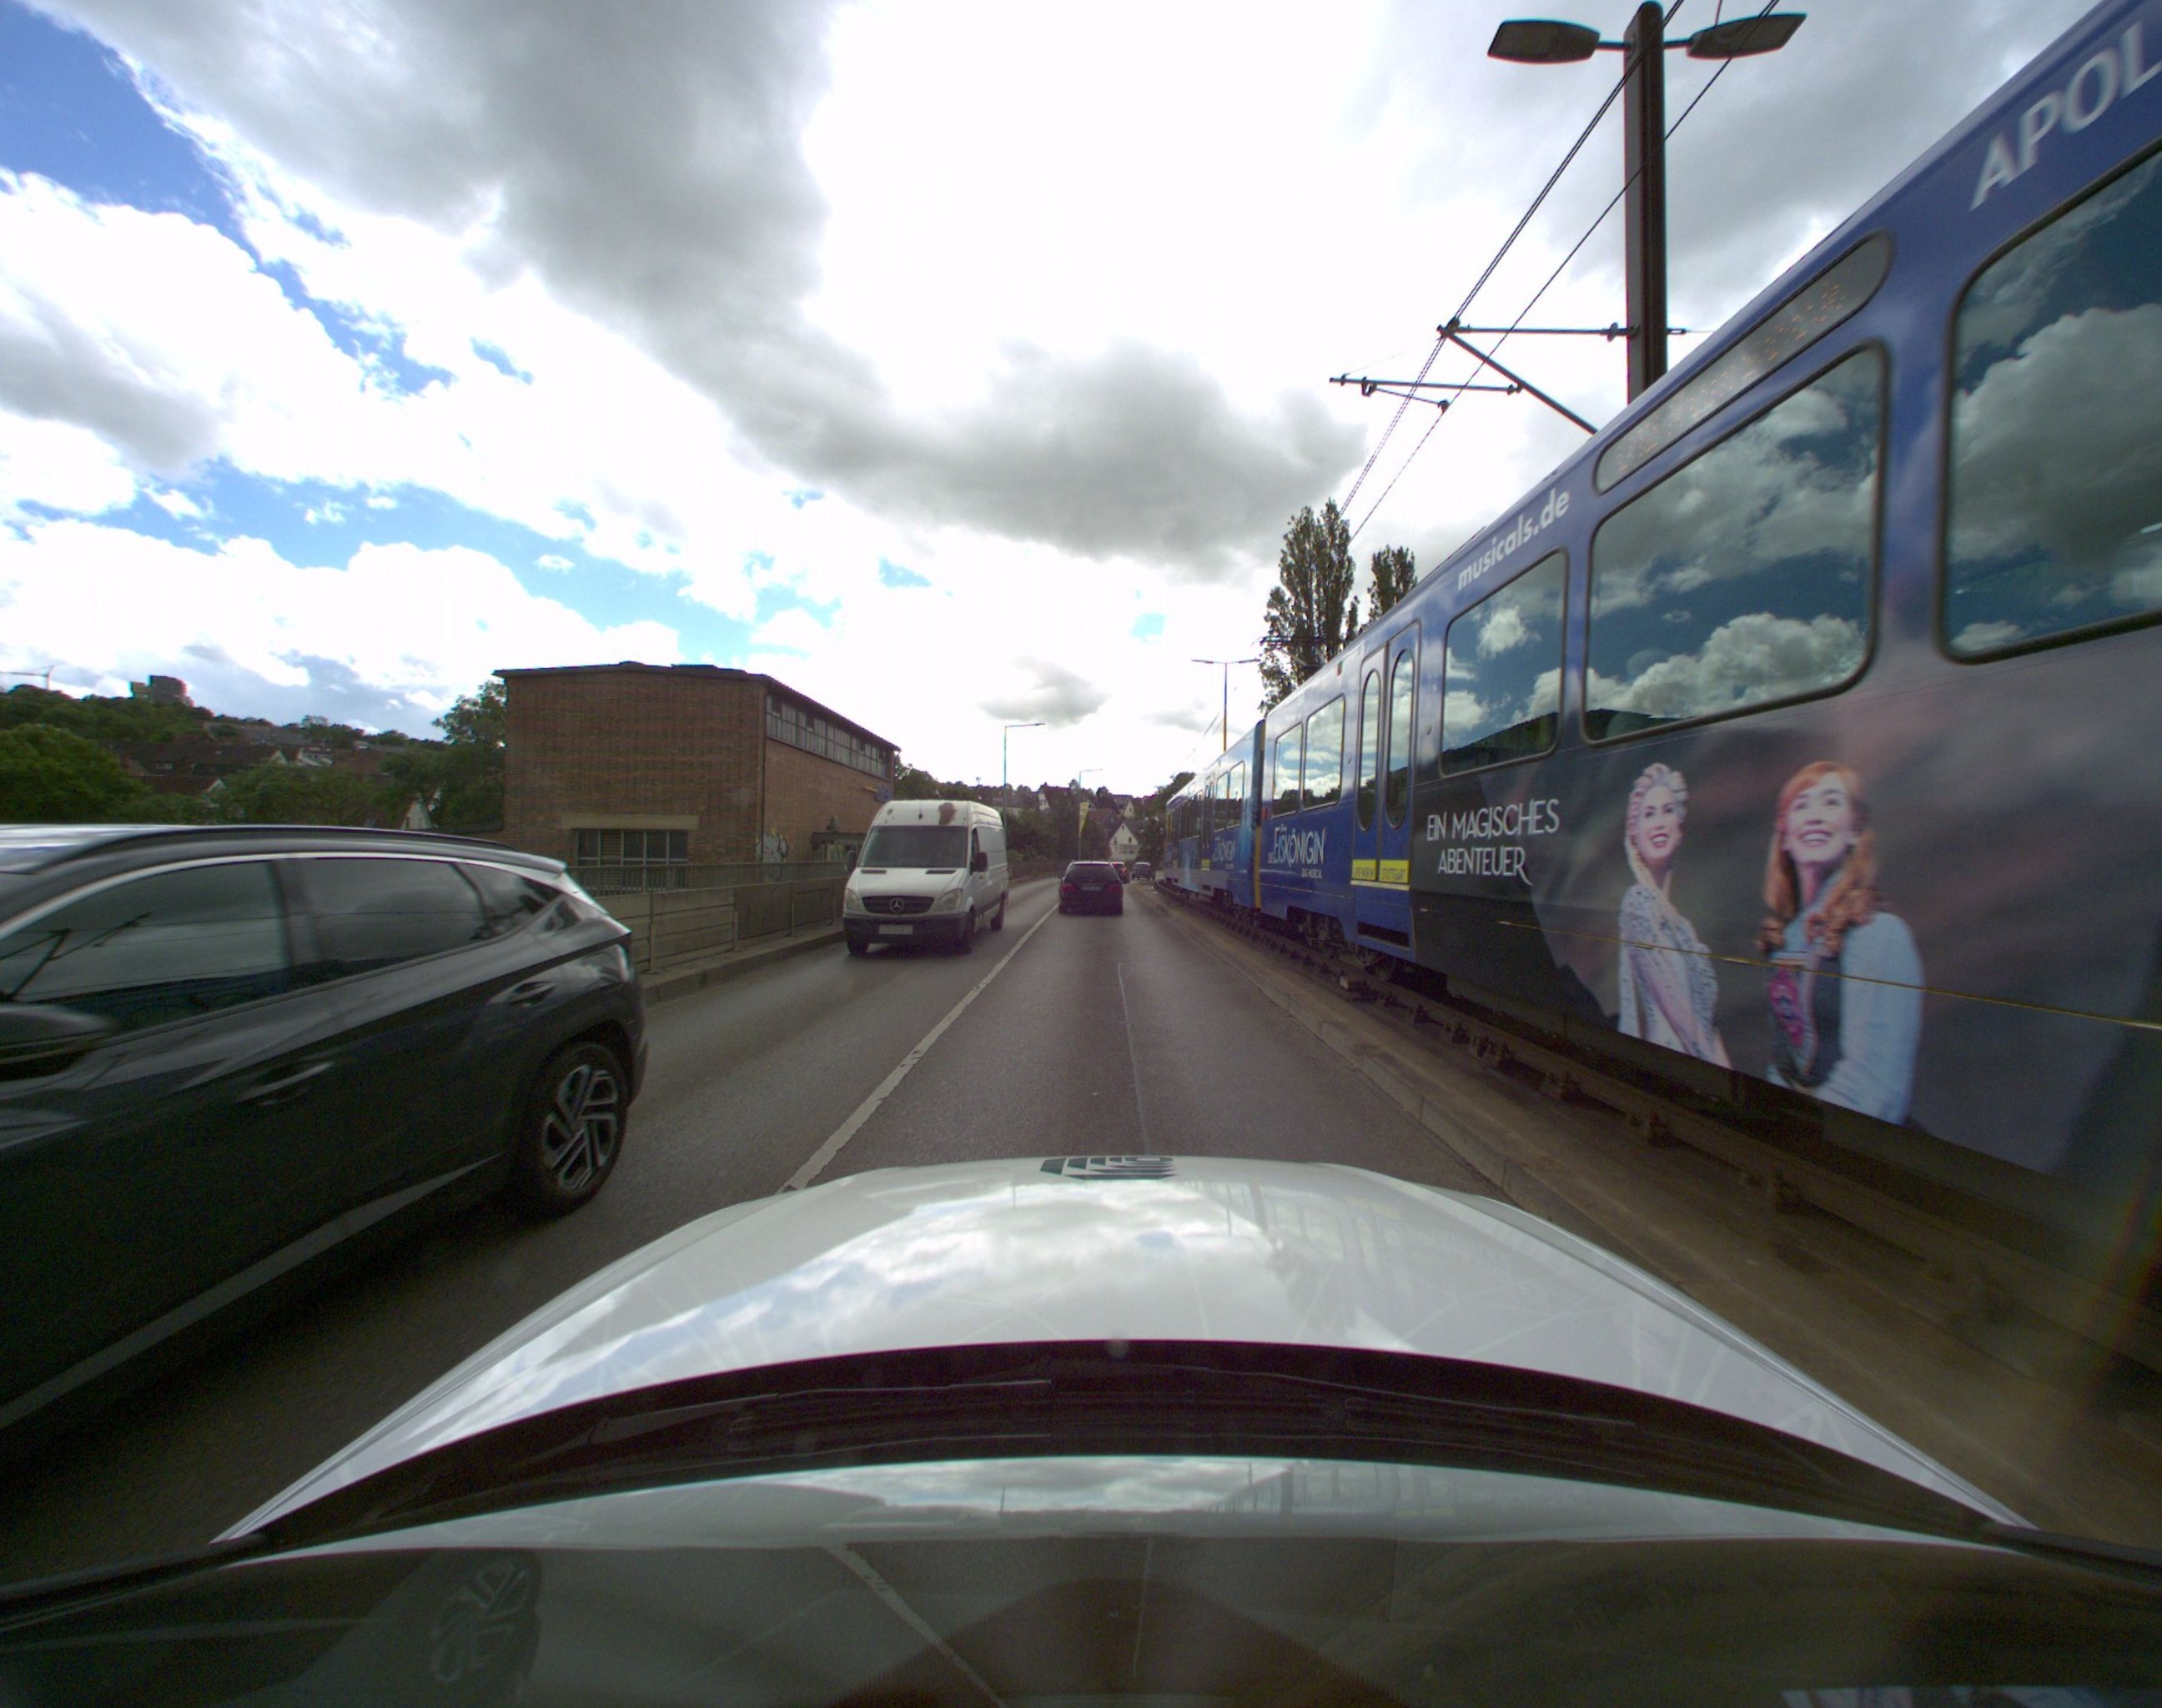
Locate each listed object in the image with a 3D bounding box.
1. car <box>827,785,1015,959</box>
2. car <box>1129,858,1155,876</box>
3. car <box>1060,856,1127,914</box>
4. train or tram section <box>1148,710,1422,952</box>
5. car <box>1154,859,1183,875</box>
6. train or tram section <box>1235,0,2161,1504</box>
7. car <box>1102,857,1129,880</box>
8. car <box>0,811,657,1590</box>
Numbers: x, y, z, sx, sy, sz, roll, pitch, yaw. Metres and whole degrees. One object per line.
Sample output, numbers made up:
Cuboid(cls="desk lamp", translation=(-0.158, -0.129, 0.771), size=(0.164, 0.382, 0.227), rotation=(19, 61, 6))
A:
Cuboid(cls="car", translation=(-2.667, 0.243, 15.619), size=(2.026, 2.561, 7.009), rotation=(-1, 0, 1))
Cuboid(cls="car", translation=(5.390, 1.096, 71.768), size=(1.781, 1.555, 4.398), rotation=(0, 0, 11))
Cuboid(cls="car", translation=(0.351, 0.836, 23.872), size=(1.753, 1.515, 4.442), rotation=(1, 0, 0))
Cuboid(cls="train or tram section", translation=(4.037, -0.281, 22.761), size=(2.784, 3.764, 19.891), rotation=(1, 0, 0))
Cuboid(cls="car", translation=(8.969, 1.291, 83.070), size=(1.755, 1.555, 4.263), rotation=(1, -1, 22))
Cuboid(cls="train or tram section", translation=(3.705, -0.447, 2.900), size=(2.775, 3.656, 19.894), rotation=(-2, -1, 1))
Cuboid(cls="car", translation=(2.530, 1.019, 58.972), size=(1.762, 1.555, 4.246), rotation=(-1, 0, 5))
Cuboid(cls="car", translation=(-3.146, 0.749, 2.290), size=(1.709, 1.645, 4.001), rotation=(-2, 0, 1))
